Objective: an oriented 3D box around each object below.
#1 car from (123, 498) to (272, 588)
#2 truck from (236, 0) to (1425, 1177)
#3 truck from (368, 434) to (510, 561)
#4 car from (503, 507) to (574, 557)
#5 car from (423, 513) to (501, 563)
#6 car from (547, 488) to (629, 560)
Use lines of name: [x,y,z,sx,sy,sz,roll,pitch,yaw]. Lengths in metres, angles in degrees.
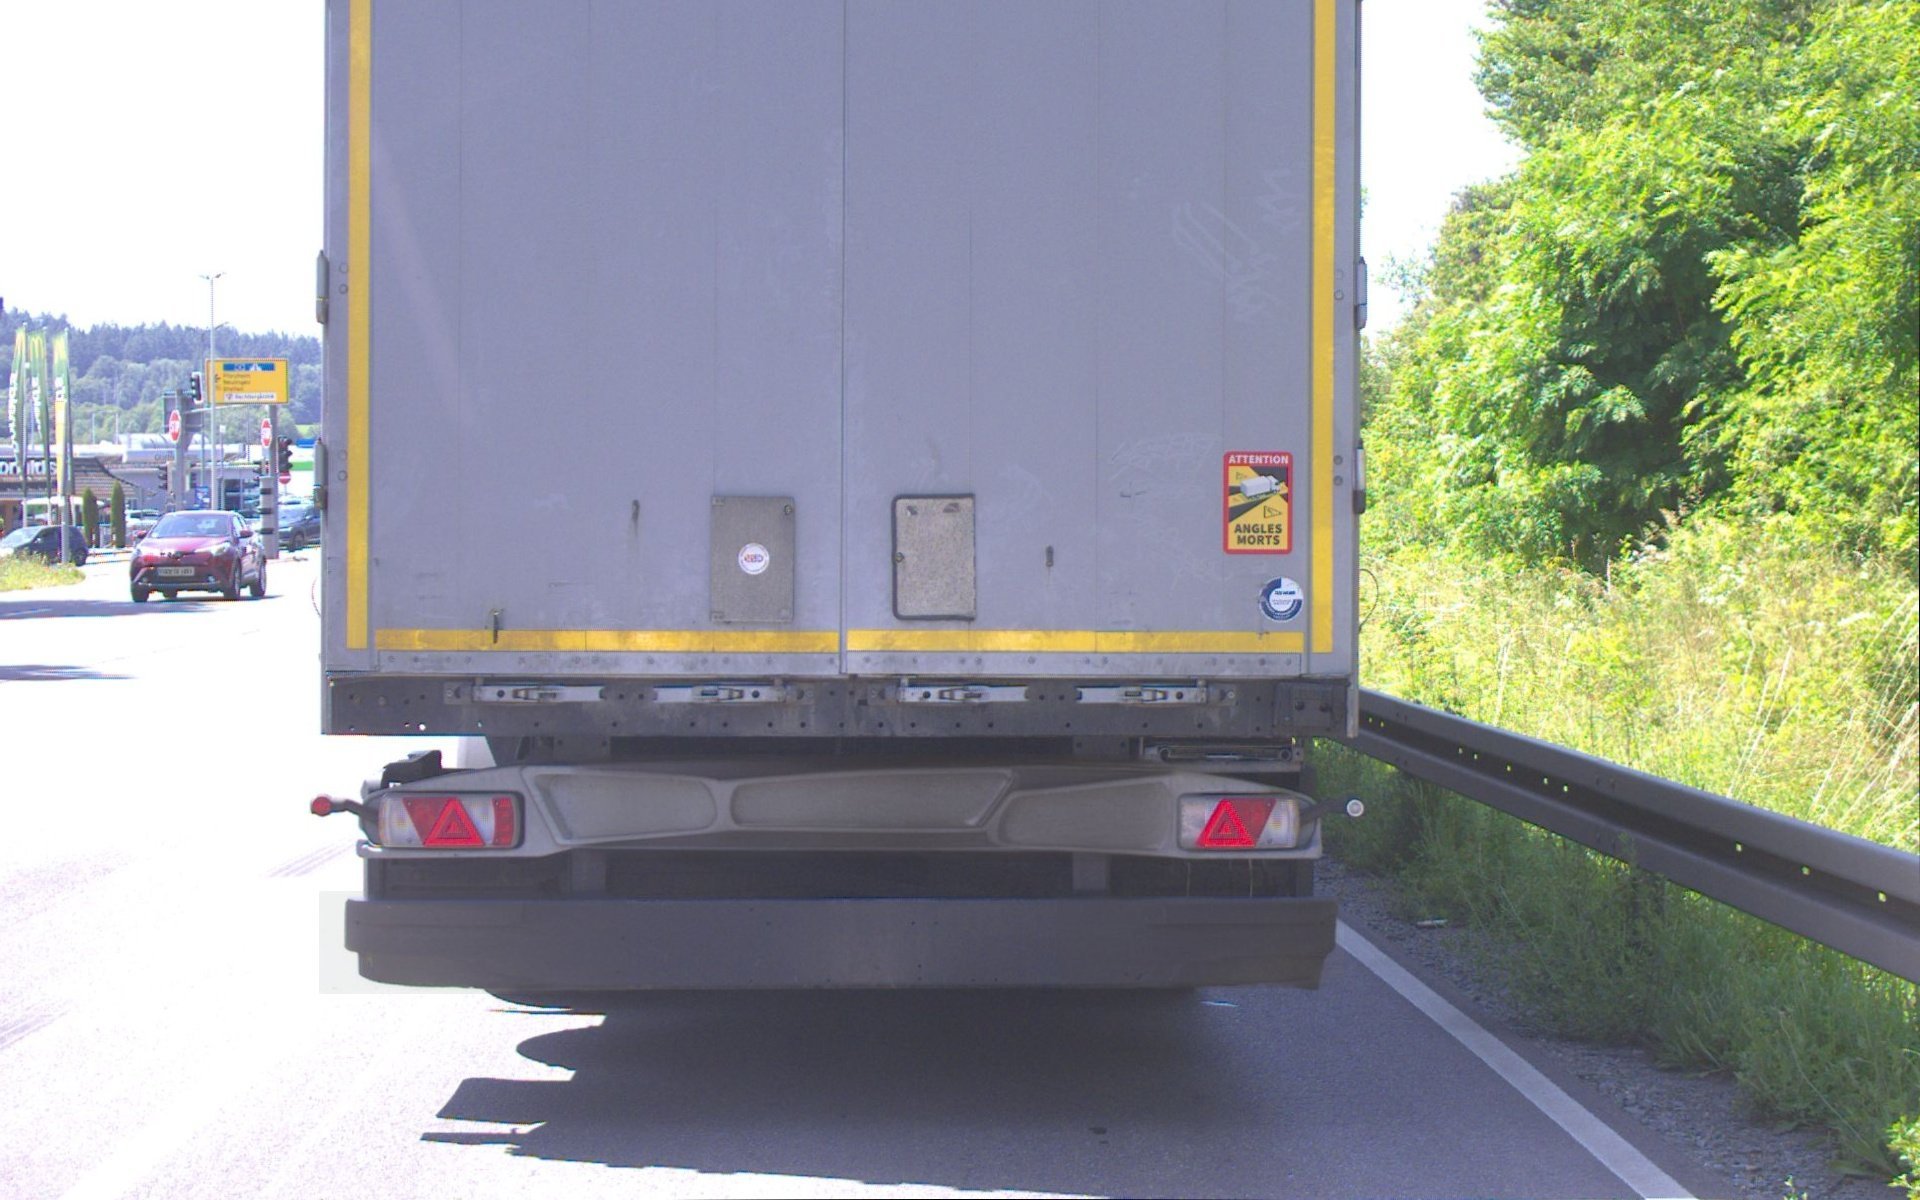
car: [-13.171,-0.998,59.553,1.903,1.503,3.765,0,1,-3]
truck: [-0.383,-1.058,16.454,2.755,4.623,16.656,1,1,-1]
truck: [-18.263,-3.580,121.680,2.968,4.162,16.577,0,1,-2]
car: [-13.485,-2.160,110.177,1.720,1.510,3.857,1,1,1]
car: [-14.233,-1.762,98.408,1.766,1.381,4.000,1,1,-2]
car: [-10.805,-2.211,100.049,1.993,2.007,4.000,1,1,-1]
